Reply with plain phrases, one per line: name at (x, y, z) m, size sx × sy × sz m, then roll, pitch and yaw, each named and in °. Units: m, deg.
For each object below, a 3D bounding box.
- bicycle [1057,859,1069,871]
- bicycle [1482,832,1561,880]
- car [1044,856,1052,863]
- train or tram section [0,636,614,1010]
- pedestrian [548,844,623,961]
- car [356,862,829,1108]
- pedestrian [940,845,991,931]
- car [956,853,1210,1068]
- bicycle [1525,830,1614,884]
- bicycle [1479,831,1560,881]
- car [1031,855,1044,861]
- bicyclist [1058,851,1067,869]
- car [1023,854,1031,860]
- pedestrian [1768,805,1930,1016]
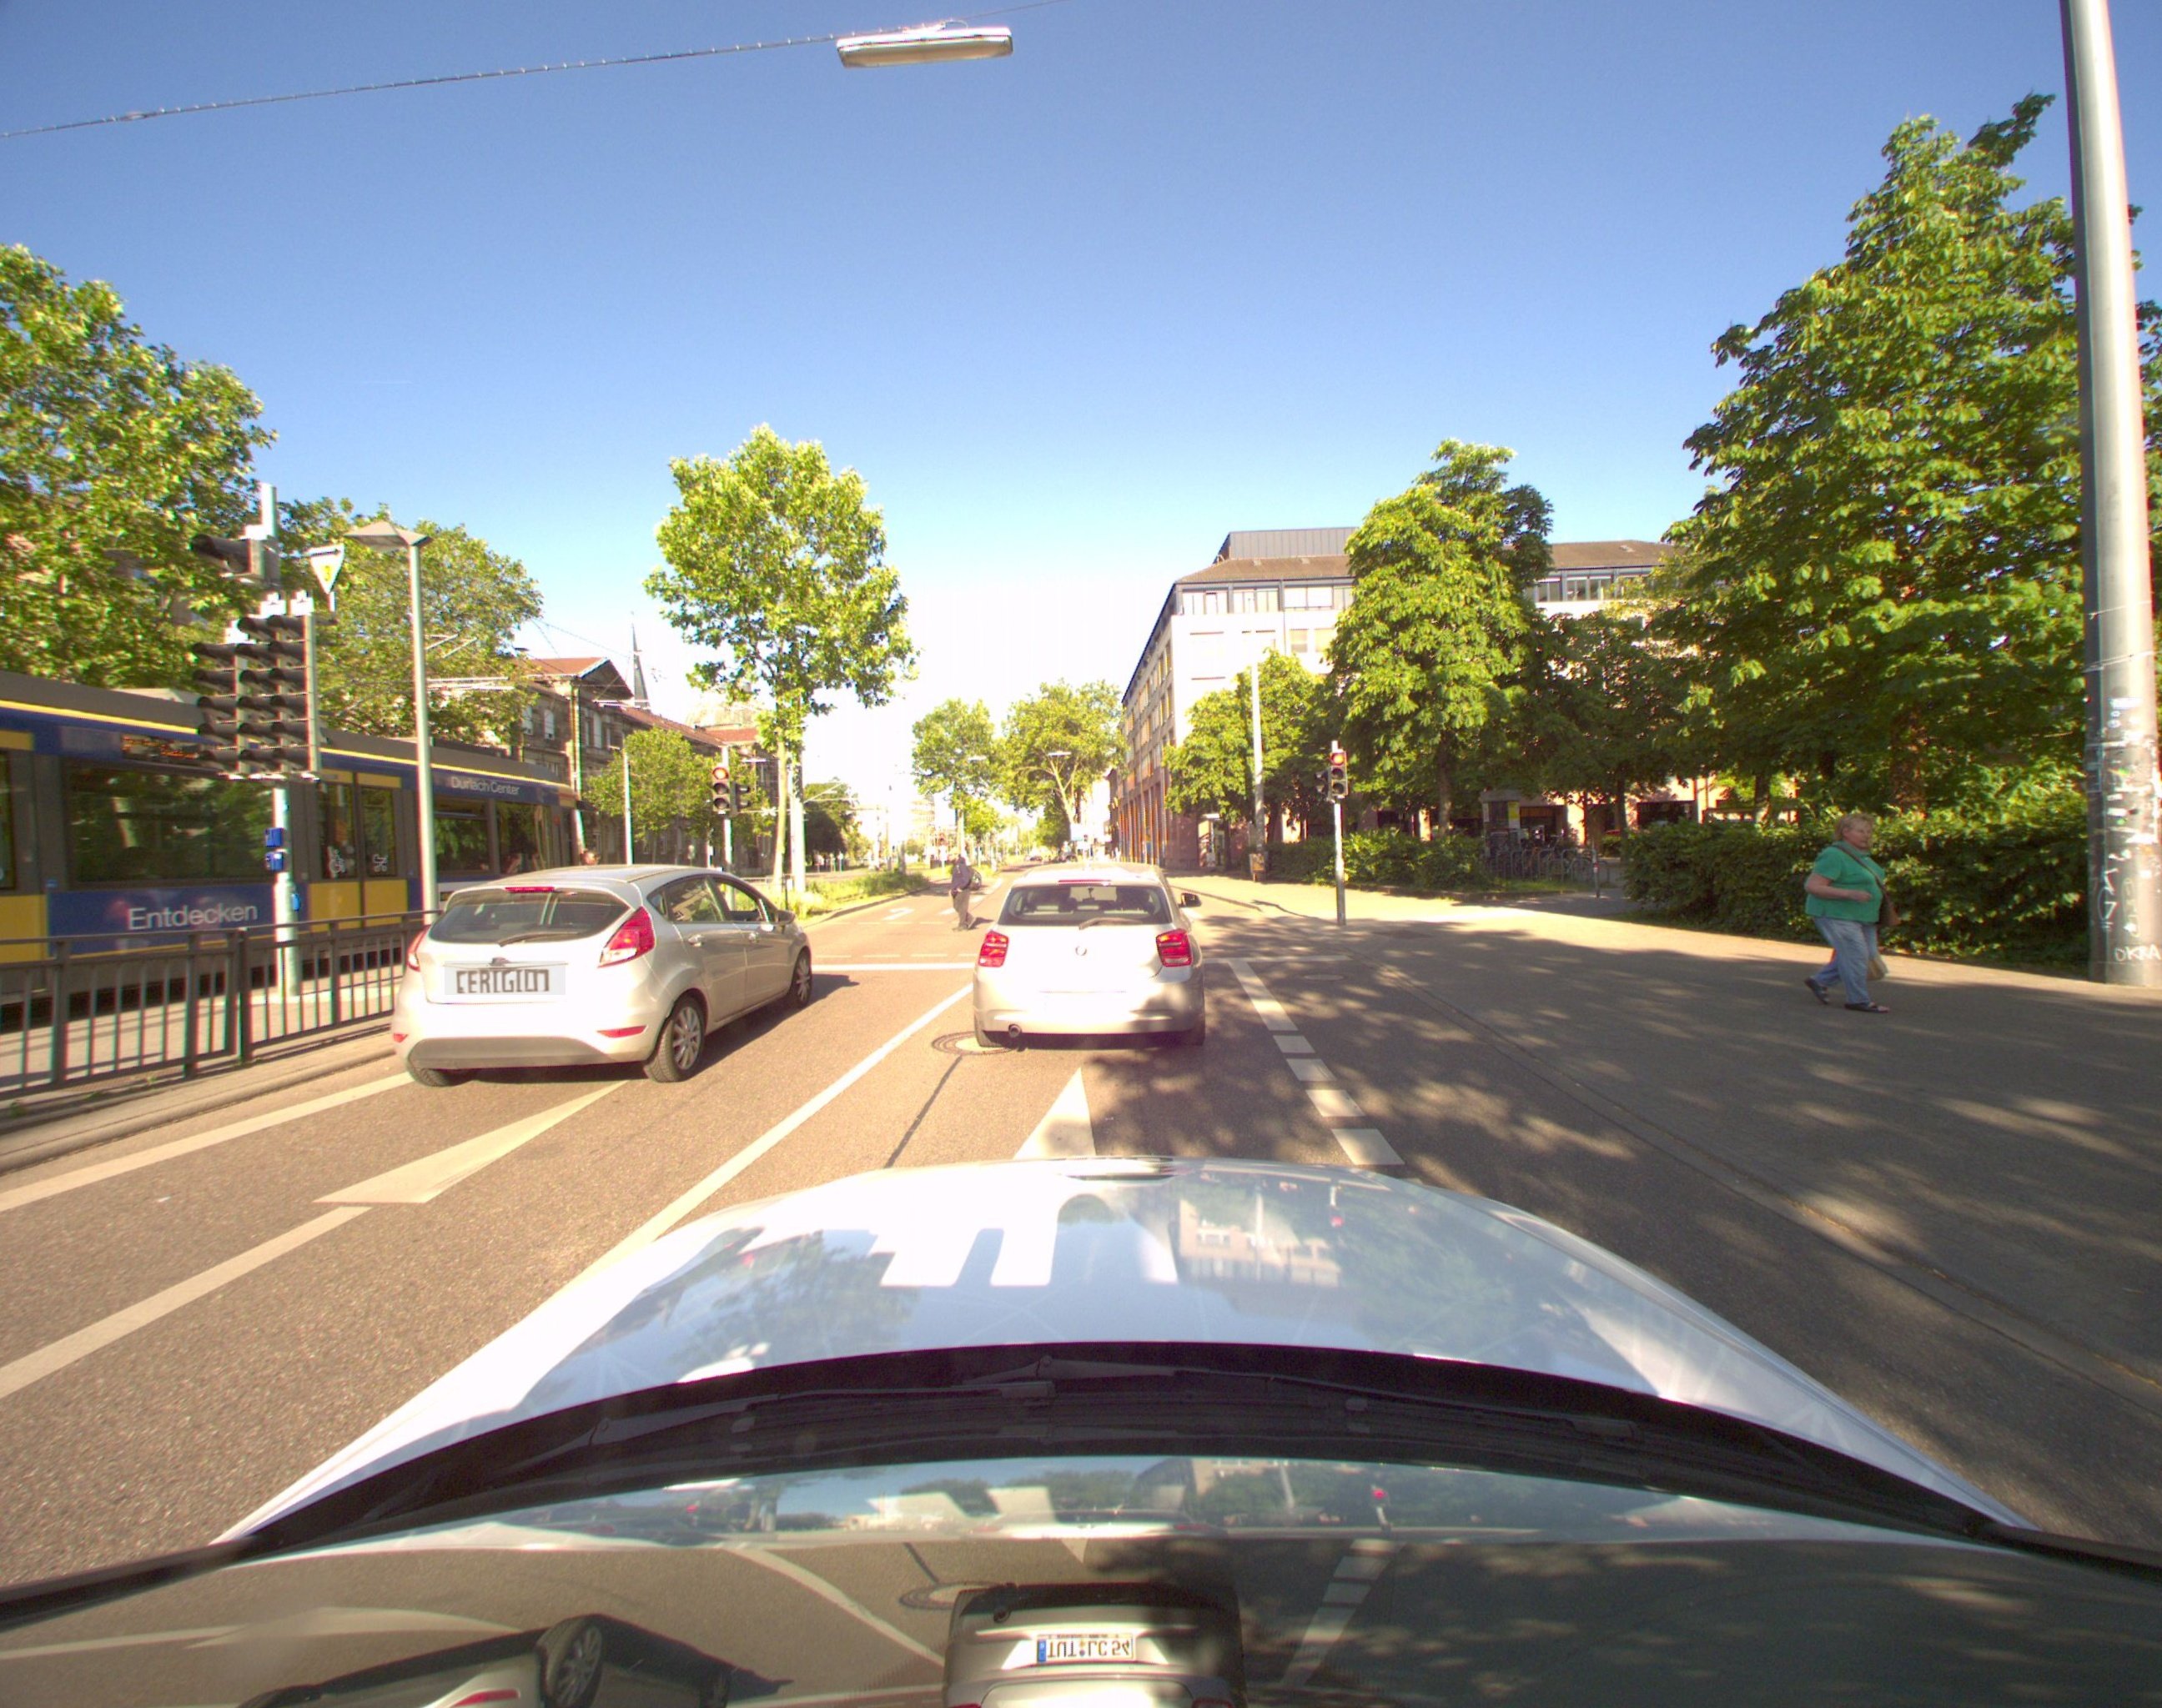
bicycle at (-1.676, 1.028, 76.199) m, size 0.827 × 1.041 × 1.878 m, roll -3°, pitch 0°, yaw 7°
bicycle at (13.182, 0.060, 24.374) m, size 1.989 × 1.314 × 0.574 m, roll -3°, pitch 0°, yaw 0°
car at (-10.135, 1.703, 249.159) m, size 1.986 × 2.014 × 4.002 m, roll 0°, pitch -1°, yaw 2°
train or tram section at (-11.026, -0.208, 10.567) m, size 2.907 × 3.260 × 13.098 m, roll 0°, pitch -1°, yaw -3°
pedestrian at (-6.895, 0.659, 11.352) m, size 0.630 × 1.557 × 0.645 m, roll -2°, pitch 0°, yaw -7°
car at (-3.435, 0.784, 6.616) m, size 1.655 × 1.409 × 3.631 m, roll -1°, pitch 0°, yaw -1°
pedestrian at (-2.280, 0.653, 16.081) m, size 0.941 × 1.629 × 0.626 m, roll -1°, pitch 0°, yaw -12°
car at (0.180, 0.719, 7.463) m, size 1.722 × 1.390 × 3.845 m, roll 0°, pitch 1°, yaw 5°
bicycle at (13.130, 0.068, 21.929) m, size 1.989 × 1.314 × 0.574 m, roll -3°, pitch 0°, yaw 0°
bicycle at (12.791, 0.049, 23.759) m, size 1.989 × 1.314 × 0.574 m, roll -3°, pitch 0°, yaw 0°
car at (-10.994, 0.986, 205.933) m, size 2.004 × 1.486 × 3.965 m, roll -2°, pitch 0°, yaw -27°
bicyclist at (-1.712, 0.518, 76.204) m, size 0.655 × 1.657 × 0.766 m, roll -3°, pitch 0°, yaw 7°
car at (-14.764, 0.803, 222.656) m, size 1.990 × 1.486 × 3.993 m, roll -2°, pitch 0°, yaw -5°
pedestrian at (6.251, 0.420, 6.634) m, size 0.743 × 1.575 × 0.822 m, roll -2°, pitch -1°, yaw -41°
